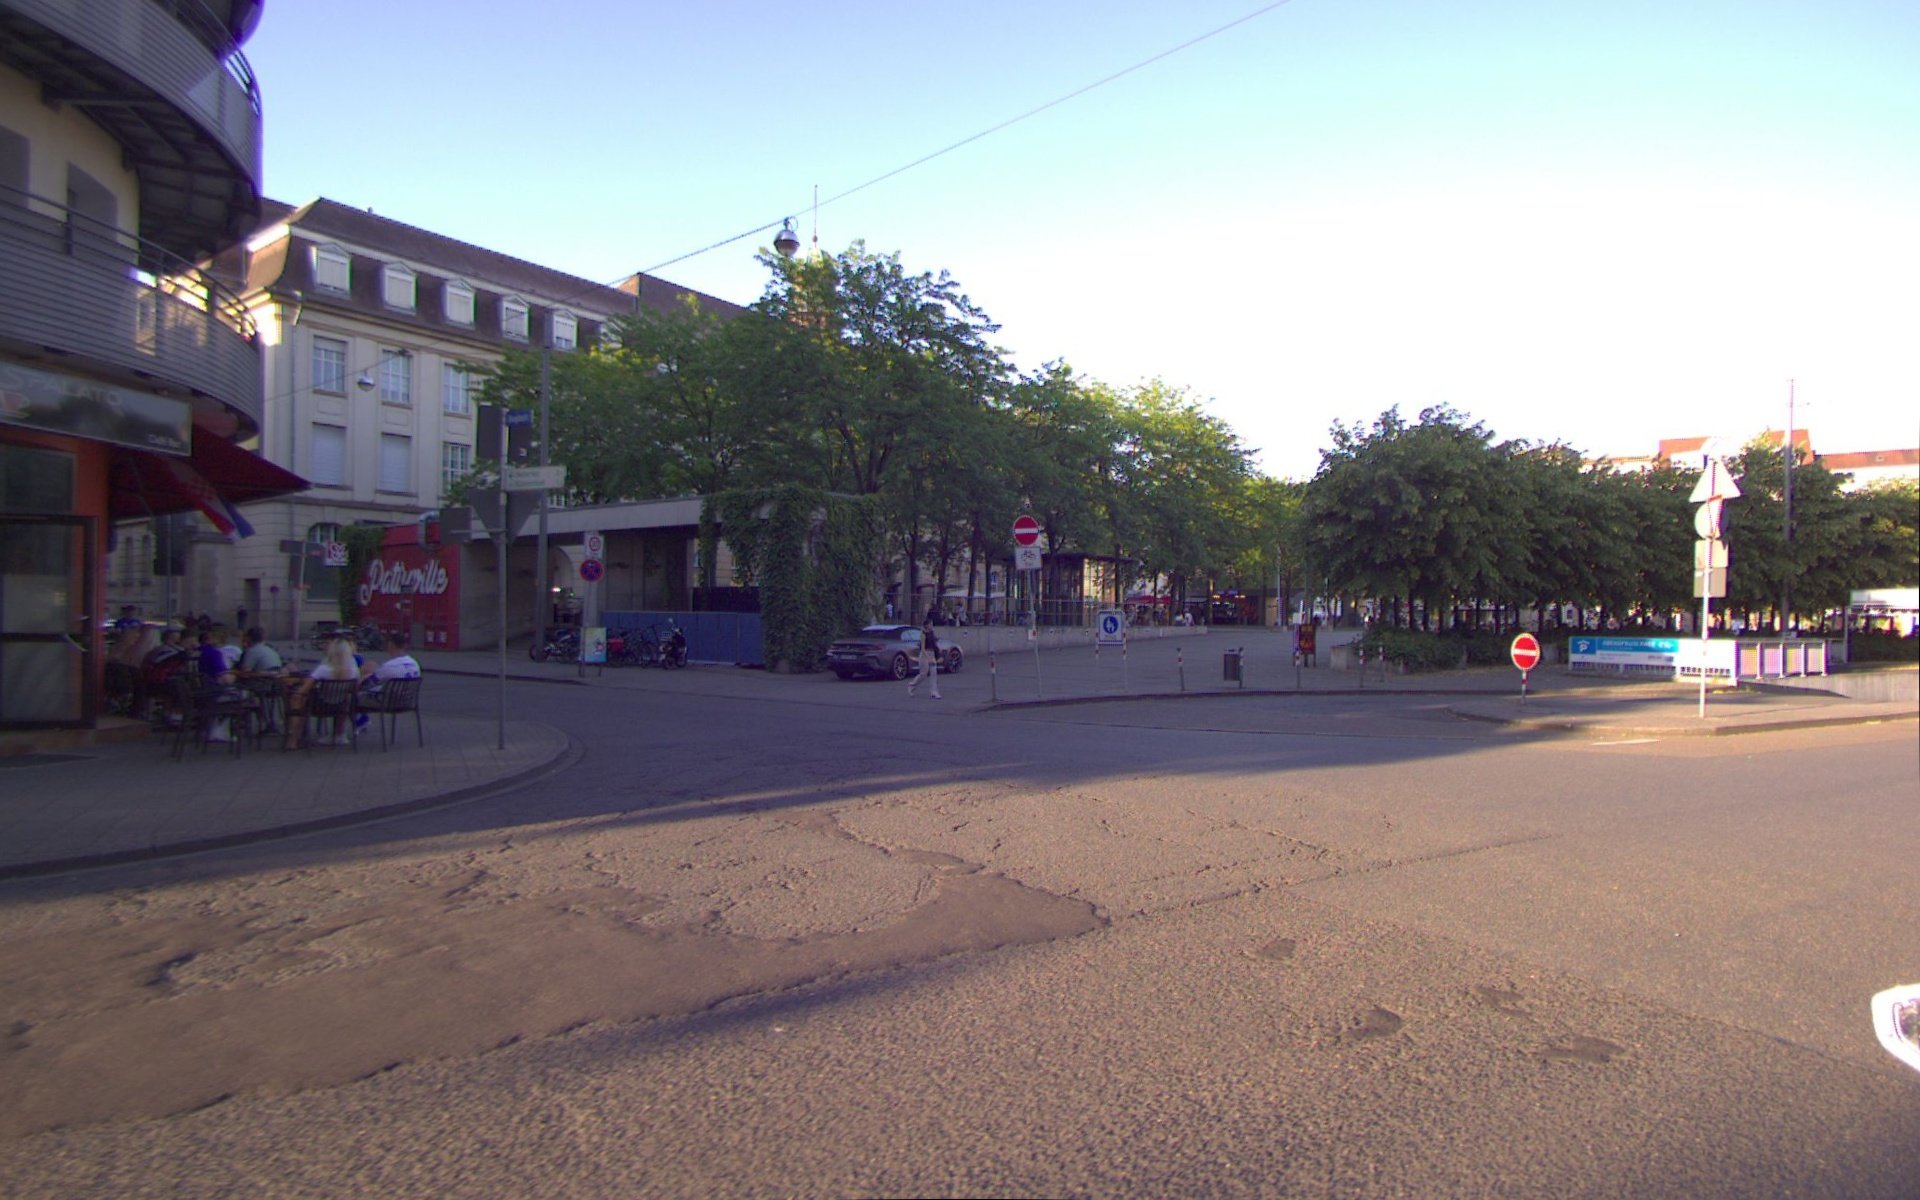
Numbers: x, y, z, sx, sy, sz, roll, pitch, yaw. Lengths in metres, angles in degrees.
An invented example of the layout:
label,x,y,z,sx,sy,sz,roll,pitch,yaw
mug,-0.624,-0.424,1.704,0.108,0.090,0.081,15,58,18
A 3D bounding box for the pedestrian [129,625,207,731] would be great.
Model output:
label,x,y,z,sx,sy,sz,roll,pitch,yaw
pedestrian,-9.815,0.954,12.455,0.696,1.263,0.615,3,-2,-39

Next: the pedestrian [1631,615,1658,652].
label,x,y,z,sx,sy,sz,roll,pitch,yaw
pedestrian,29.946,1.461,43.951,0.558,1.616,0.791,1,0,-10

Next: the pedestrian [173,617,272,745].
label,x,y,z,sx,sy,sz,roll,pitch,yaw
pedestrian,-8.324,0.894,11.362,0.821,1.365,0.741,3,-2,-36

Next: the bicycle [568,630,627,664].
label,x,y,z,sx,sy,sz,roll,pitch,yaw
bicycle,-10.993,1.418,30.513,0.501,0.935,1.801,1,0,29

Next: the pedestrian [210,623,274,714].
label,x,y,z,sx,sy,sz,roll,pitch,yaw
pedestrian,-10.675,1.002,14.931,0.696,1.305,0.615,3,-2,-39

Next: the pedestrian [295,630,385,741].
label,x,y,z,sx,sy,sz,roll,pitch,yaw
pedestrian,-7.448,1.003,12.064,0.821,1.263,0.716,3,-2,-36

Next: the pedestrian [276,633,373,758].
label,x,y,z,sx,sy,sz,roll,pitch,yaw
pedestrian,-6.859,1.001,10.832,0.761,1.258,0.890,3,-2,-38

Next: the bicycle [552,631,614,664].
label,x,y,z,sx,sy,sz,roll,pitch,yaw
bicycle,-11.672,1.448,31.107,0.503,0.935,1.796,1,0,39

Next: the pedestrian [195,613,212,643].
label,x,y,z,sx,sy,sz,roll,pitch,yaw
pedestrian,-35.814,1.316,47.550,0.392,1.415,0.517,0,0,33

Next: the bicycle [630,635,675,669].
label,x,y,z,sx,sy,sz,roll,pitch,yaw
bicycle,-8.958,1.511,29.277,0.500,0.892,1.805,0,0,9

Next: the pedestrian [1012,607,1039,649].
label,x,y,z,sx,sy,sz,roll,pitch,yaw
pedestrian,2.524,1.073,38.696,0.778,1.607,0.652,1,-2,35

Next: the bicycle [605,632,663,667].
label,x,y,z,sx,sy,sz,roll,pitch,yaw
bicycle,-9.645,1.456,29.784,0.501,0.935,1.802,1,0,26

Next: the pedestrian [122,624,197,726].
label,x,y,z,sx,sy,sz,roll,pitch,yaw
pedestrian,-10.305,0.952,12.946,0.696,1.263,0.615,3,-2,-39

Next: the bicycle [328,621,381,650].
label,x,y,z,sx,sy,sz,roll,pitch,yaw
bicycle,-24.582,1.431,40.822,0.503,1.093,1.794,1,0,42

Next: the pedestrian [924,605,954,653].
label,x,y,z,sx,sy,sz,roll,pitch,yaw
pedestrian,-0.714,0.983,34.096,0.679,1.607,0.767,1,-2,37

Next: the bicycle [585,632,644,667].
label,x,y,z,sx,sy,sz,roll,pitch,yaw
bicycle,-10.307,1.468,30.041,0.501,0.935,1.801,1,0,29

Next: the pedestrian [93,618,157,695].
label,x,y,z,sx,sy,sz,roll,pitch,yaw
pedestrian,-14.499,0.976,17.449,0.612,1.305,0.699,0,-2,39

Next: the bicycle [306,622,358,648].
label,x,y,z,sx,sy,sz,roll,pitch,yaw
bicycle,-26.178,1.458,41.894,0.504,1.022,1.794,1,0,43

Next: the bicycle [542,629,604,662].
label,x,y,z,sx,sy,sz,roll,pitch,yaw
bicycle,-12.101,1.408,31.455,0.503,0.935,1.796,1,0,39

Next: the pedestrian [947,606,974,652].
label,x,y,z,sx,sy,sz,roll,pitch,yaw
pedestrian,0.021,1.024,35.199,0.612,1.607,0.699,1,-2,37

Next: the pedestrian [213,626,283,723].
label,x,y,z,sx,sy,sz,roll,pitch,yaw
pedestrian,-9.608,0.993,13.559,0.696,1.263,0.615,3,-2,-39

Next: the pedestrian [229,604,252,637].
label,x,y,z,sx,sy,sz,roll,pitch,yaw
pedestrian,-35.984,1.033,50.239,0.834,1.619,0.727,1,-1,-42

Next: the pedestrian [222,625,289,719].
label,x,y,z,sx,sy,sz,roll,pitch,yaw
pedestrian,-10.083,1.018,14.381,0.696,1.305,0.615,3,-2,-39

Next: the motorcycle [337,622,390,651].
label,x,y,z,sx,sy,sz,roll,pitch,yaw
motorcycle,-23.970,1.451,40.396,0.503,1.093,1.796,1,0,39

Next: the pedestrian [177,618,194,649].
label,x,y,z,sx,sy,sz,roll,pitch,yaw
pedestrian,-36.241,1.569,47.007,0.378,1.415,0.540,0,0,33

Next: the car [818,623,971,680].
label,x,y,z,sx,sy,sz,roll,pitch,yaw
car,-1.651,1.313,26.926,1.964,1.335,4.521,0,-1,29

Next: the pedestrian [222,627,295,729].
label,x,y,z,sx,sy,sz,roll,pitch,yaw
pedestrian,-9.112,0.995,13.051,0.696,1.263,0.615,3,-2,-39

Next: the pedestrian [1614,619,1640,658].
label,x,y,z,sx,sy,sz,roll,pitch,yaw
pedestrian,27.922,1.617,42.056,0.558,1.616,0.678,1,0,-10

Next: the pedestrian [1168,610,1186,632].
label,x,y,z,sx,sy,sz,roll,pitch,yaw
pedestrian,10.777,1.019,49.845,0.703,1.073,0.609,0,0,35

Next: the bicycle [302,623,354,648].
label,x,y,z,sx,sy,sz,roll,pitch,yaw
bicycle,-26.601,1.488,42.290,0.504,1.022,1.794,1,0,43

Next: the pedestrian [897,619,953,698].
label,x,y,z,sx,sy,sz,roll,pitch,yaw
pedestrian,-0.722,1.184,20.683,0.885,1.587,0.765,0,0,35

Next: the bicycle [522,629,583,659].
label,x,y,z,sx,sy,sz,roll,pitch,yaw
bicycle,-13.123,1.408,32.366,1.775,0.935,0.509,0,0,-17

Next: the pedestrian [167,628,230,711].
label,x,y,z,sx,sy,sz,roll,pitch,yaw
pedestrian,-11.883,1.078,15.676,0.697,1.241,0.614,3,-2,-43

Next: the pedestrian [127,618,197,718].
label,x,y,z,sx,sy,sz,roll,pitch,yaw
pedestrian,-10.927,0.919,13.762,0.696,1.305,0.649,3,-2,-39

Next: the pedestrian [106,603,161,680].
label,x,y,z,sx,sy,sz,roll,pitch,yaw
pedestrian,-16.403,0.822,19.936,0.690,1.489,0.620,1,-2,34

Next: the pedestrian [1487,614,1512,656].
label,x,y,z,sx,sy,sz,roll,pitch,yaw
pedestrian,20.951,1.356,39.000,0.693,1.616,0.673,1,1,42

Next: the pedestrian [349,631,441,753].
label,x,y,z,sx,sy,sz,roll,pitch,yaw
pedestrian,-6.356,1.009,11.297,0.742,1.290,0.820,3,-2,-38

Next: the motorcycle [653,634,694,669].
label,x,y,z,sx,sy,sz,roll,pitch,yaw
motorcycle,-8.185,1.464,28.753,0.500,0.892,1.805,0,0,6

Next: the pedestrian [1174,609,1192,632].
label,x,y,z,sx,sy,sz,roll,pitch,yaw
pedestrian,11.200,1.022,50.474,0.703,1.134,0.609,0,0,35

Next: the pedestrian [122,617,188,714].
label,x,y,z,sx,sy,sz,roll,pitch,yaw
pedestrian,-11.698,0.942,14.608,0.696,1.351,0.615,3,-2,-39

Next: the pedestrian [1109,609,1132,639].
label,x,y,z,sx,sy,sz,roll,pitch,yaw
pedestrian,7.237,1.082,45.357,0.778,1.296,0.652,1,-2,35

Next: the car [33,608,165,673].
label,x,y,z,sx,sy,sz,roll,pitch,yaw
car,-23.487,1.049,27.367,3.936,1.617,1.963,0,-1,37

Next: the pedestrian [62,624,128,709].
label,x,y,z,sx,sy,sz,roll,pitch,yaw
pedestrian,-13.164,1.005,15.286,0.697,1.241,0.614,3,-2,-43

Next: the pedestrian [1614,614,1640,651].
label,x,y,z,sx,sy,sz,roll,pitch,yaw
pedestrian,29.828,1.429,44.928,0.558,1.616,0.791,1,0,-10

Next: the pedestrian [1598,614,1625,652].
label,x,y,z,sx,sy,sz,roll,pitch,yaw
pedestrian,27.851,1.408,42.953,0.558,1.616,0.791,1,0,-10

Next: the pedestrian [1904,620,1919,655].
label,x,y,z,sx,sy,sz,roll,pitch,yaw
pedestrian,44.626,1.740,46.762,0.558,1.616,0.791,1,0,-10

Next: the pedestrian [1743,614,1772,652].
label,x,y,z,sx,sy,sz,roll,pitch,yaw
pedestrian,34.685,1.429,43.678,0.665,1.616,0.678,1,0,-10
